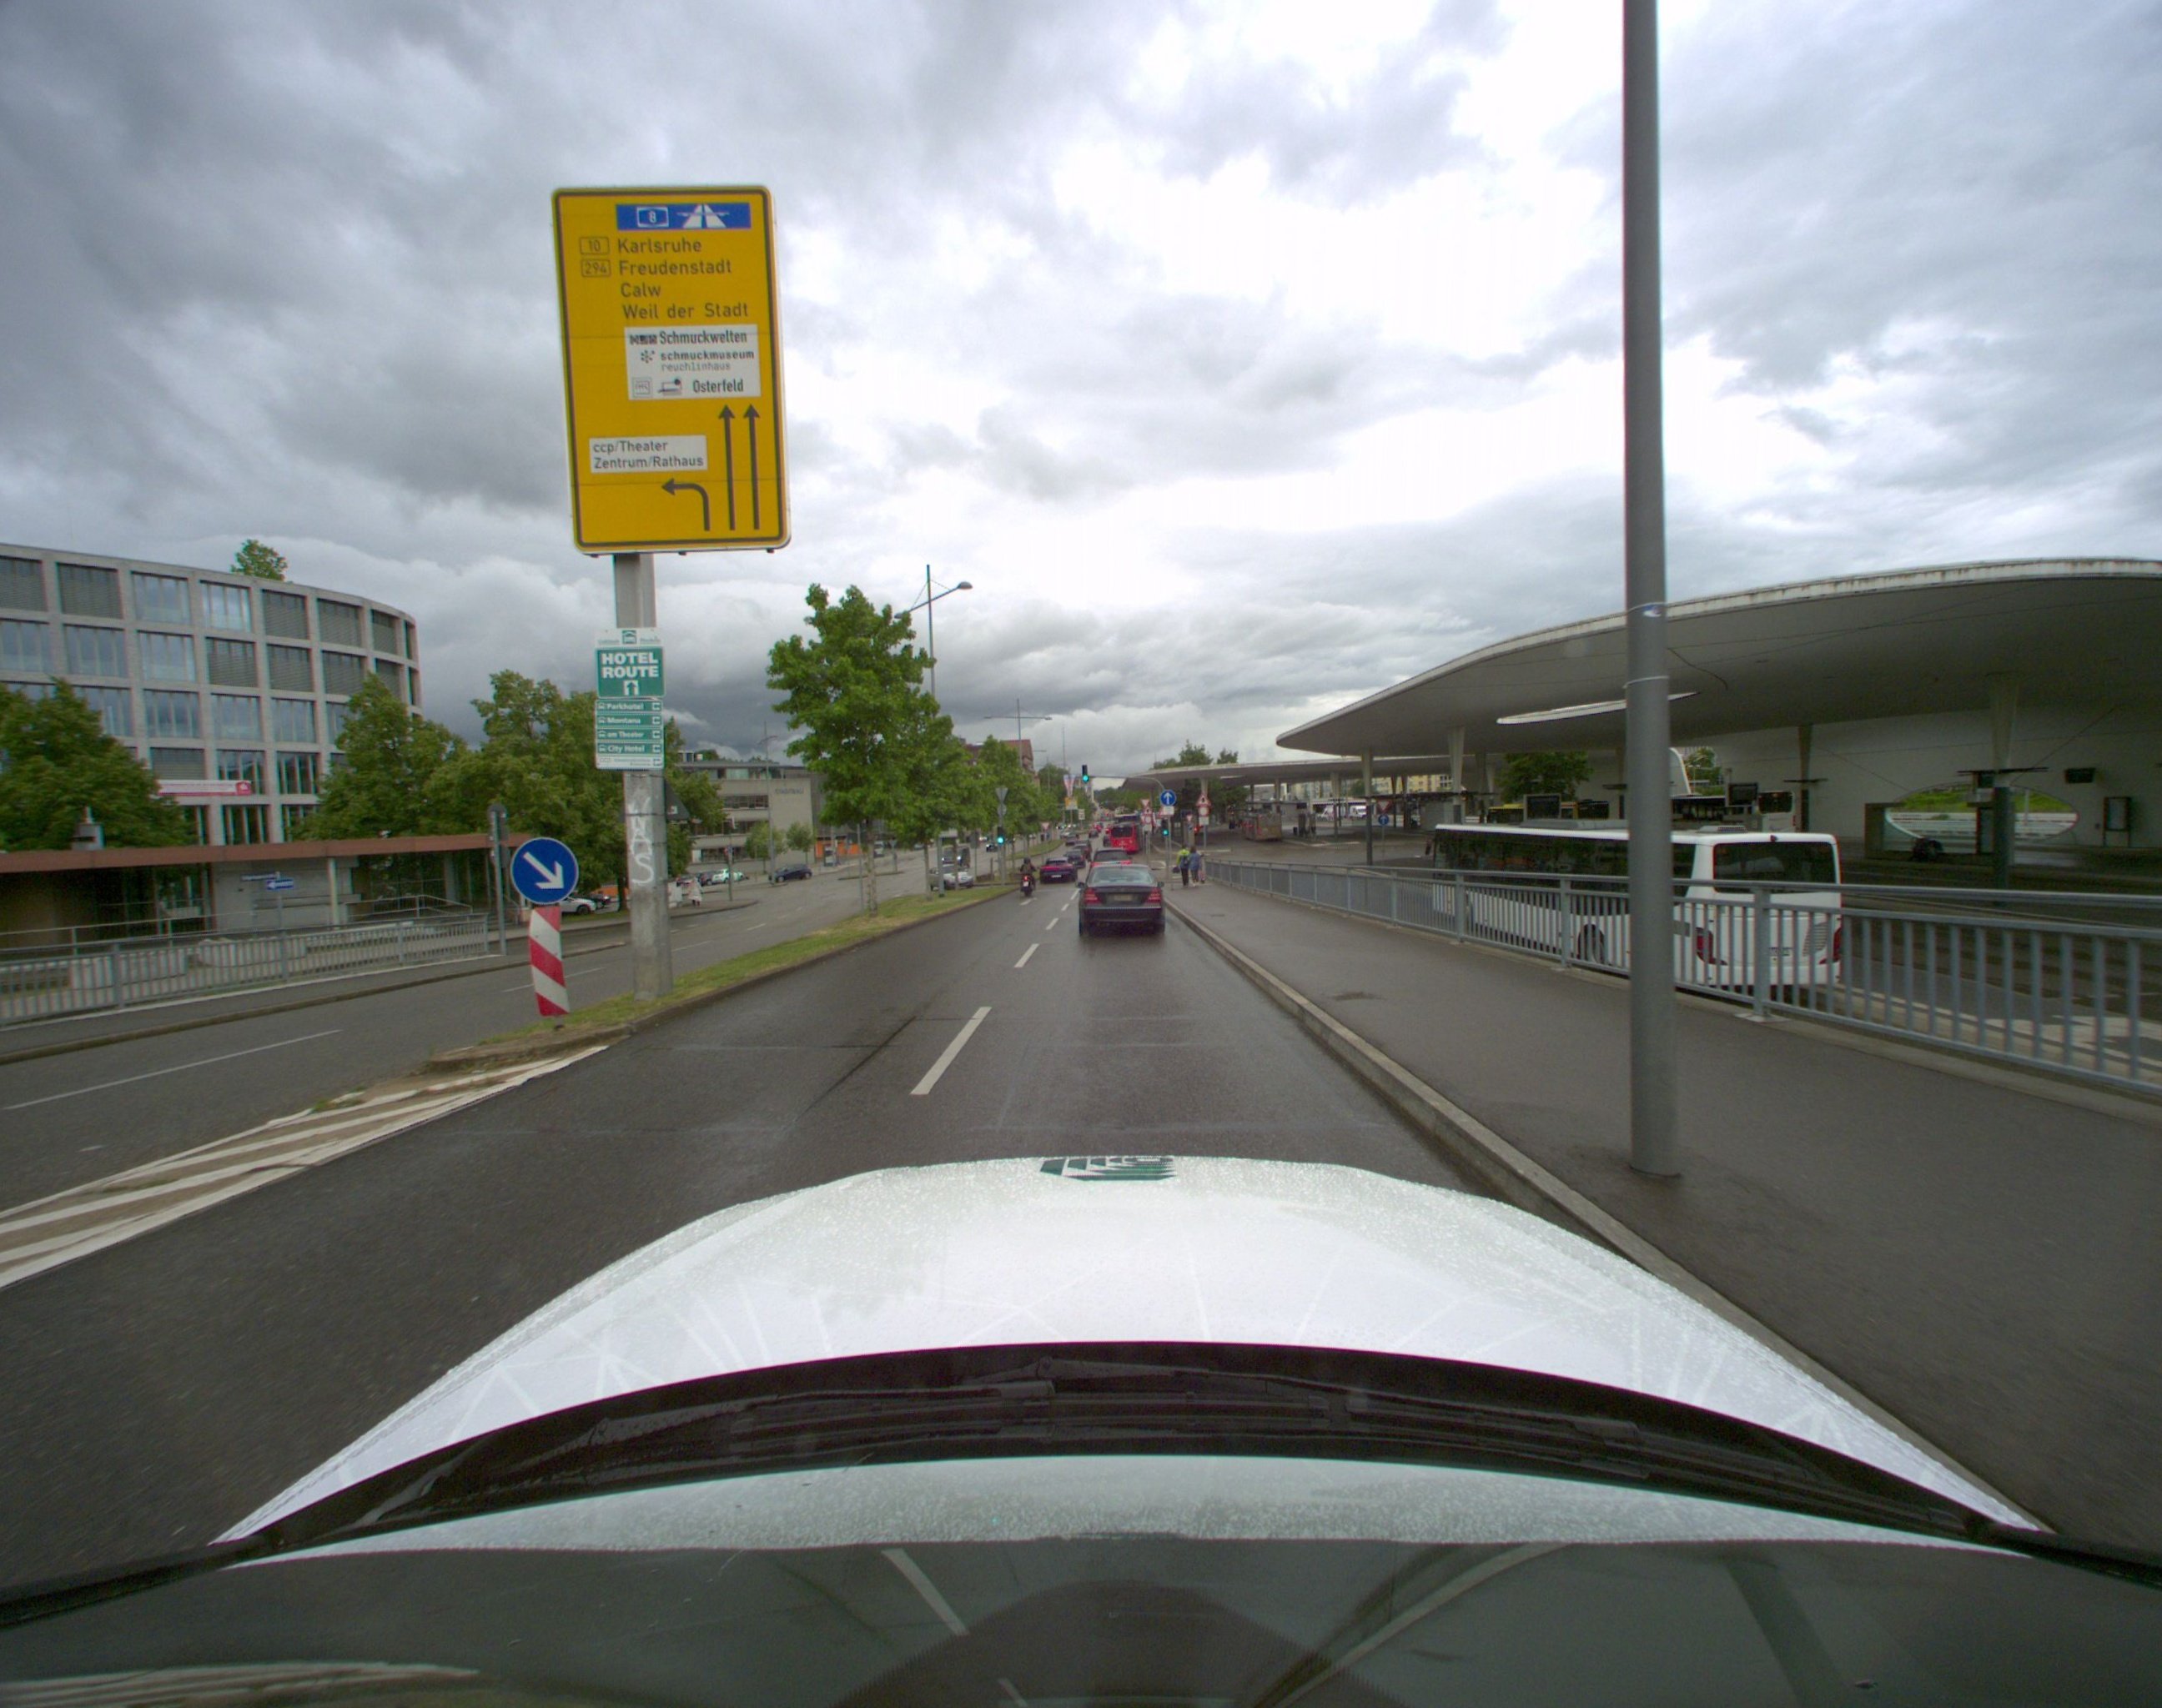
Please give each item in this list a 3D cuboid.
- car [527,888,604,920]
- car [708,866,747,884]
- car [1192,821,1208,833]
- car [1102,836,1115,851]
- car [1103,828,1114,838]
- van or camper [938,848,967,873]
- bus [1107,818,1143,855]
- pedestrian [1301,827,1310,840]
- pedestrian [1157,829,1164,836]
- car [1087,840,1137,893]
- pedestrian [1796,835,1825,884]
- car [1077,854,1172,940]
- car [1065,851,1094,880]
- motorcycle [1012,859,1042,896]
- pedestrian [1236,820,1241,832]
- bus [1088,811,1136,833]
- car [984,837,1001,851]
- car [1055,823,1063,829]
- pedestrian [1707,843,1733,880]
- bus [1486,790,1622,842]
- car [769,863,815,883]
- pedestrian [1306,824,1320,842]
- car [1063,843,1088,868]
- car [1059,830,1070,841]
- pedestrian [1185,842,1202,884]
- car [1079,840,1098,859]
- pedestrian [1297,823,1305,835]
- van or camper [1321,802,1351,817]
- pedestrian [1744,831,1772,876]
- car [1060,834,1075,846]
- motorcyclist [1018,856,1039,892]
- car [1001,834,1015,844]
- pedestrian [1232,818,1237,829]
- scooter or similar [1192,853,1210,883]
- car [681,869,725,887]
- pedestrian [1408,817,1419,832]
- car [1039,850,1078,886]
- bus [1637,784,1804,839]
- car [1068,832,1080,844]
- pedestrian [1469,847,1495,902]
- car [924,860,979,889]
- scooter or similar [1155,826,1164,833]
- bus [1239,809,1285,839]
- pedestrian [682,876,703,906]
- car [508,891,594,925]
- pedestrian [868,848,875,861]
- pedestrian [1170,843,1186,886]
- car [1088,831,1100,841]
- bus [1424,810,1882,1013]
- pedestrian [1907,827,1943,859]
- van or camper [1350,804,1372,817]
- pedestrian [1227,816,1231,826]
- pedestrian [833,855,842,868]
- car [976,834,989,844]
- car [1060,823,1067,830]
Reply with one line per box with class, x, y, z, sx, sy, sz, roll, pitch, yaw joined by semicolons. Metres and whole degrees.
car;-33.419;3.221;52.874;1.706;1.567;3.862;-1;3;44
car;-36.743;2.209;84.770;1.615;1.495;3.599;-3;3;17
car;17.034;-3.908;117.113;1.706;1.661;4.242;-3;3;1
car;3.561;-1.356;105.660;1.569;1.566;3.874;-6;3;2
car;5.061;-3.887;149.592;1.859;1.684;4.002;0;0;2
van or camper;-11.997;0.632;76.231;2.214;2.072;5.271;-5;0;-7
bus;4.611;-1.983;85.070;3.273;3.290;10.889;-4;3;3
pedestrian;24.641;-2.259;89.398;0.786;1.377;0.637;-3;3;19
pedestrian;12.467;-3.329;128.033;0.906;0.985;0.636;-2;-1;16
car;1.416;0.487;37.264;1.950;1.875;4.877;-6;3;2
pedestrian;25.682;0.193;28.667;0.646;1.654;0.632;-6;3;-38
car;0.872;0.800;17.220;1.691;1.462;4.306;-2;1;2
car;-0.067;0.777;56.592;1.734;1.566;3.874;-6;3;2
motorcycle;-2.158;0.933;32.700;0.789;1.261;1.858;-5;3;6
pedestrian;22.832;-4.053;117.853;0.559;1.691;0.613;-3;3;-5
bus;6.276;-6.588;168.984;2.861;3.986;11.730;-6;3;-37
car;-12.894;-1.532;119.119;1.903;1.661;4.857;-3;4;-1
car;-5.760;-7.407;215.211;1.773;1.566;3.433;-6;3;2
pedestrian;25.240;0.304;32.163;0.566;1.393;0.558;-4;2;7
bus;33.731;-2.752;58.960;2.779;3.256;12.144;-3;3;0
car;-27.777;1.826;78.246;3.689;1.438;1.810;-8;4;-35
pedestrian;22.443;-2.057;78.677;0.721;1.683;1.013;-6;3;-24
car;-0.428;0.063;64.470;1.670;1.622;3.874;-6;3;2
car;-2.977;-3.276;147.054;1.635;1.804;3.641;0;-1;2
pedestrian;4.506;0.361;32.597;0.587;1.670;0.580;-1;-2;1
car;0.791;-0.475;81.153;1.569;1.504;3.875;-6;3;3
pedestrian;24.726;-2.786;91.588;0.786;1.226;0.637;-3;3;19
van or camper;44.877;-7.791;143.446;4.591;2.557;2.119;-1;1;0
pedestrian;25.900;-0.021;31.147;0.566;1.654;0.558;-4;2;7
car;-1.919;-1.938;115.875;1.859;1.684;4.002;0;0;2
motorcyclist;-2.096;0.804;32.826;0.638;1.347;0.690;-4;3;5
car;-13.377;-2.729;149.715;1.839;1.504;4.925;-3;2;3
pedestrian;24.080;-4.745;128.043;0.573;1.716;0.565;-1;-1;37
scooter or similar;5.088;0.573;34.499;0.462;1.221;1.860;-4;-1;2
car;-40.819;2.578;87.970;1.743;1.495;3.813;-2;3;40
pedestrian;37.261;-3.317;91.247;0.793;1.586;0.907;-2;2;-4
car;-1.222;0.739;46.058;1.809;1.570;4.407;-6;3;2
bus;43.686;-2.993;56.392;2.456;3.256;11.981;-4;3;2
car;-1.097;-2.654;133.401;1.791;1.907;3.641;0;-1;2
pedestrian;14.350;0.722;29.138;0.589;1.886;0.642;-4;5;-34
car;-7.456;1.174;46.622;1.643;1.448;3.837;-6;2;-32
scooter or similar;12.292;-3.841;127.821;1.233;1.012;0.767;-3;2;16
bus;20.309;-3.481;92.139;2.711;3.042;12.098;-4;3;2
pedestrian;-21.309;2.043;44.639;0.647;1.570;0.633;-5;0;11
car;-32.462;3.272;49.950;1.706;1.508;4.081;-1;3;44
pedestrian;-27.615;0.052;107.445;0.471;1.683;0.765;-4;3;9
pedestrian;3.889;0.409;32.663;0.520;1.670;0.580;-2;0;1
car;2.249;-3.027;139.860;1.859;1.684;4.002;0;0;2
bus;12.423;0.664;20.207;2.834;3.360;12.435;0;4;2
pedestrian;35.309;-0.436;34.086;0.705;1.325;0.803;0;-1;9
van or camper;47.034;-7.277;136.953;1.986;2.102;5.483;-1;1;2
pedestrian;23.262;-5.155;128.002;0.573;1.578;0.565;0;-1;31
pedestrian;-28.425;0.894;94.966;0.676;1.392;0.721;-4;2;0
car;-19.789;-3.061;163.903;1.840;1.652;4.422;-3;2;2
car;-4.802;-7.532;220.980;1.569;1.566;3.433;-6;3;2
